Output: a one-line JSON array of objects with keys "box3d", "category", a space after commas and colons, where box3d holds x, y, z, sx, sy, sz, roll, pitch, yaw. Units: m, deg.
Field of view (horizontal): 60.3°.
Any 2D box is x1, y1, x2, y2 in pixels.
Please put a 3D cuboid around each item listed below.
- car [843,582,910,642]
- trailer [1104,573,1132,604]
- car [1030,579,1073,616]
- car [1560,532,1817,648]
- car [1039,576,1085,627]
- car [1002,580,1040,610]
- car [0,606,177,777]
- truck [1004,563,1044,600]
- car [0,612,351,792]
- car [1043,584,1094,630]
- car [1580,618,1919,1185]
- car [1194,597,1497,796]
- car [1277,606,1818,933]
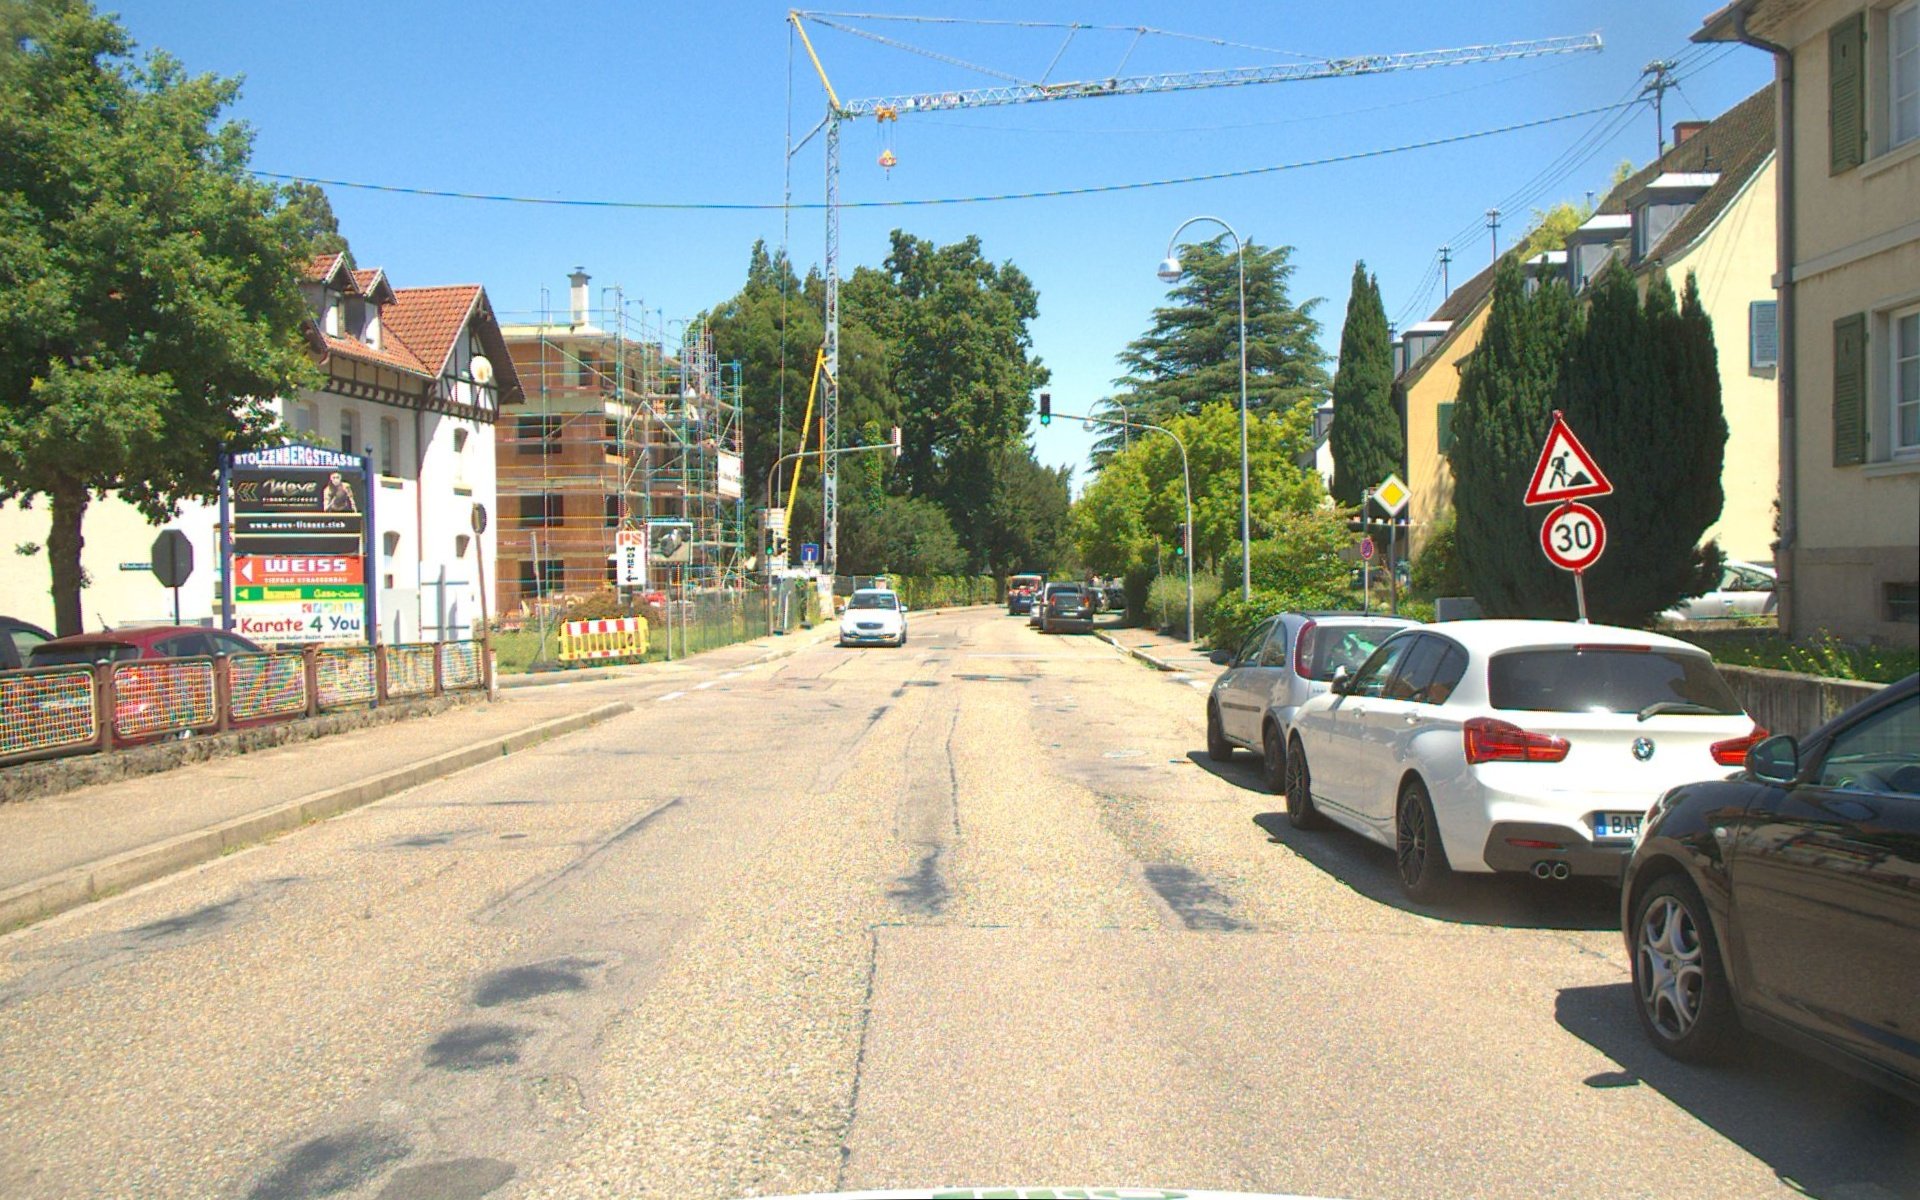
[{"box3d": [-2.373, 0.319, 47.775, 1.618, 1.589, 3.885, -2, 0, 1], "category": "car"}, {"box3d": [11.296, -0.861, 118.355, 1.644, 2.104, 3.712, 1, 1, 10], "category": "trailer"}, {"box3d": [3.836, -0.138, 68.884, 1.626, 1.460, 4.131, 1, 1, 5], "category": "car"}, {"box3d": [11.604, -0.168, 26.504, 3.334, 1.477, 1.614, -6, 0, 6], "category": "car"}, {"box3d": [3.921, 0.037, 63.464, 1.627, 1.834, 4.205, 2, 1, 3], "category": "car"}, {"box3d": [3.274, -0.294, 88.609, 1.756, 1.536, 4.003, 1, 1, 5], "category": "car"}, {"box3d": [-10.715, 1.000, 17.821, 1.756, 1.707, 4.628, -2, 1, 9], "category": "car"}, {"box3d": [4.385, -1.268, 112.128, 2.082, 2.379, 6.440, -1, 1, 7], "category": "truck"}, {"box3d": [-8.240, 0.975, 17.486, 1.756, 1.544, 4.003, -2, 1, 6], "category": "car"}, {"box3d": [3.812, 0.215, 58.784, 1.595, 1.488, 4.017, 2, 1, 1], "category": "car"}, {"box3d": [3.287, 0.809, 4.486, 1.564, 1.455, 3.998, 1, 0, -2], "category": "car"}, {"box3d": [3.282, 0.750, 14.844, 1.633, 1.491, 3.998, 1, 1, -2], "category": "car"}, {"box3d": [3.125, 0.800, 9.704, 1.633, 1.460, 3.999, 1, 0, -2], "category": "car"}]
